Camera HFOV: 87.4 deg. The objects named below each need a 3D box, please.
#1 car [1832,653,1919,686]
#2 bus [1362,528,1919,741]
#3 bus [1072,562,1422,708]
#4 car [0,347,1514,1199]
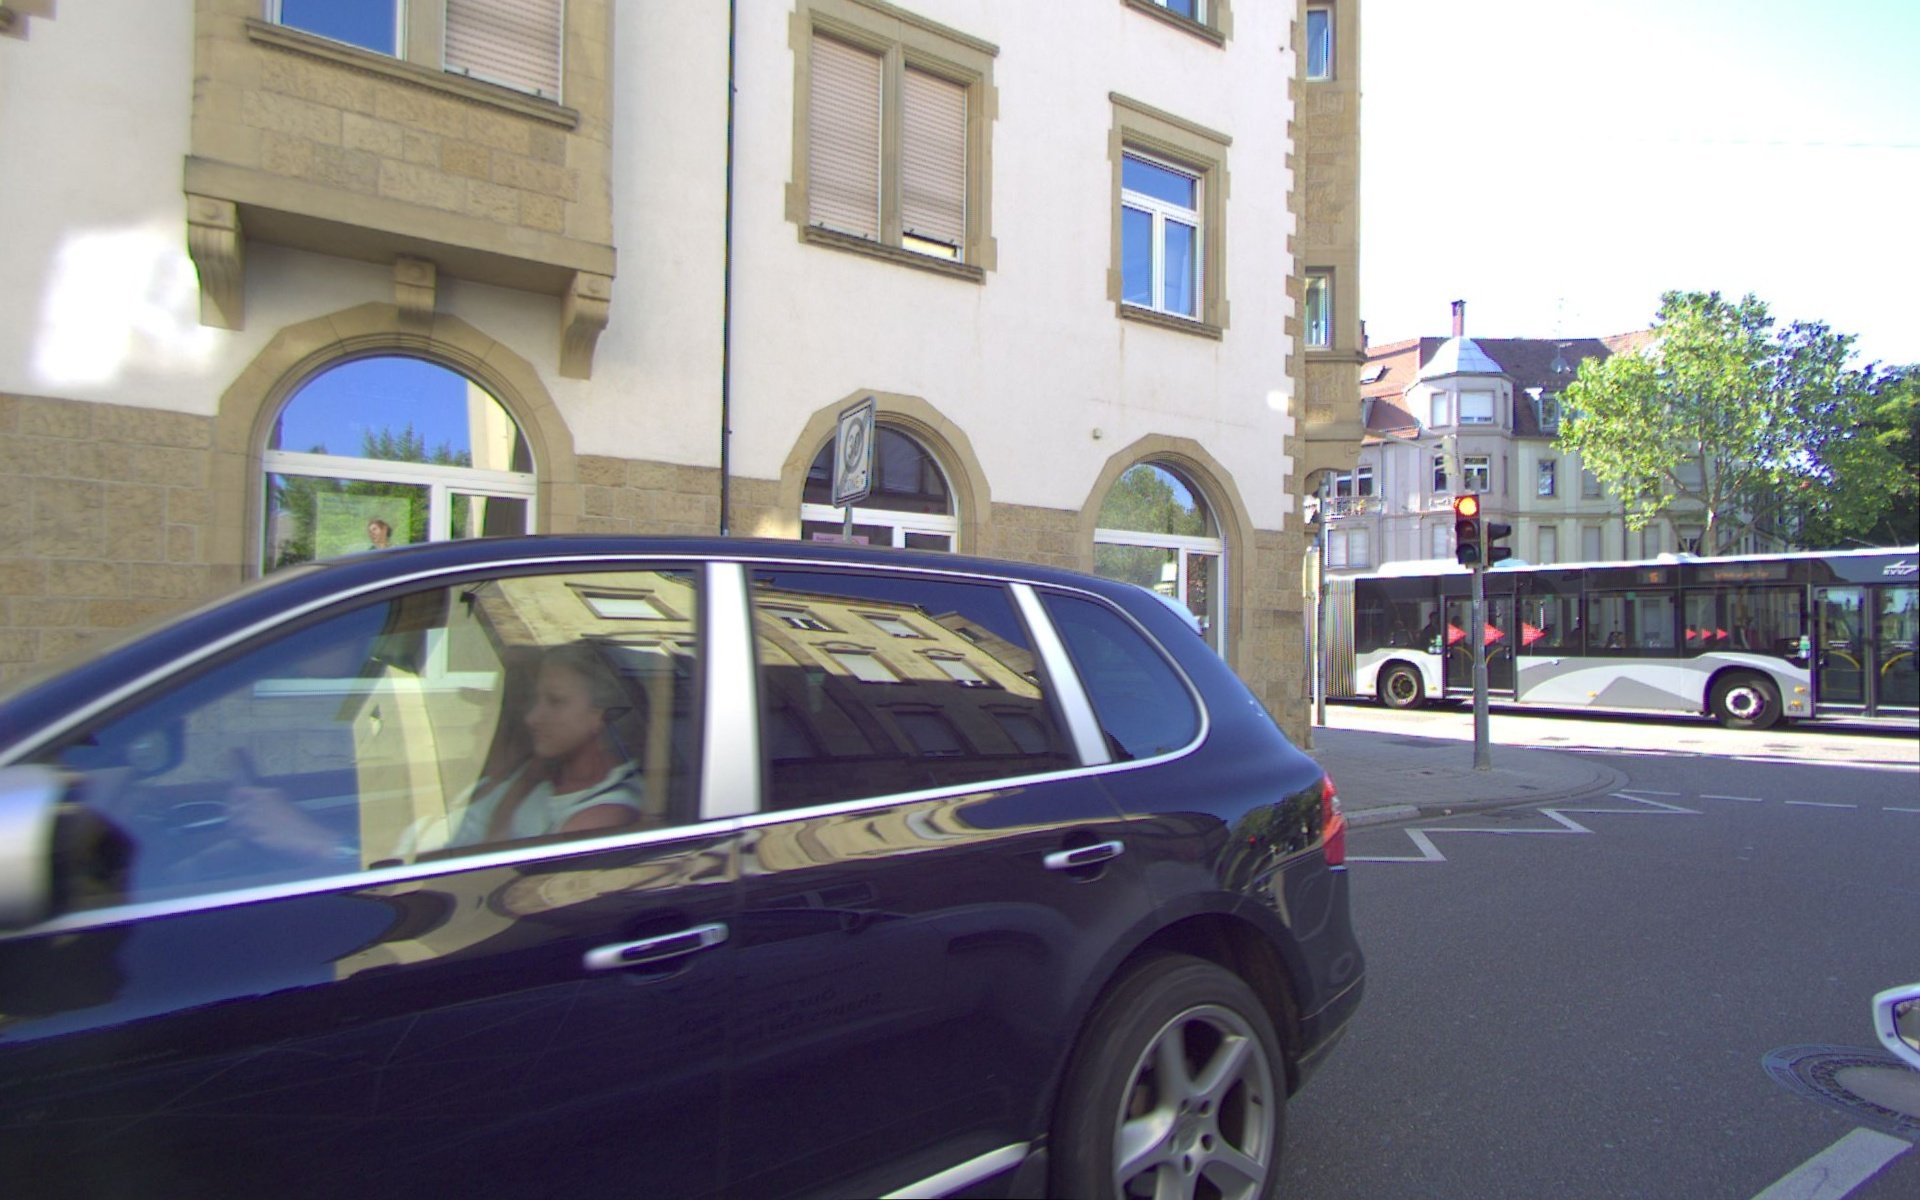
[{"bbox_3d":[45.451,3.415,49.504,1.647,1.476,3.595,2,-2,-44],"label":"car"},{"bbox_3d":[12.691,0.607,18.787,2.723,3.137,9.544,2,-2,-39],"label":"bus"},{"bbox_3d":[6.959,0.869,25.906,2.723,3.137,8.753,2,-2,-39],"label":"bus"},{"bbox_3d":[-0.831,0.691,2.442,4.666,1.715,2.058,2,-5,-37],"label":"car"}]
